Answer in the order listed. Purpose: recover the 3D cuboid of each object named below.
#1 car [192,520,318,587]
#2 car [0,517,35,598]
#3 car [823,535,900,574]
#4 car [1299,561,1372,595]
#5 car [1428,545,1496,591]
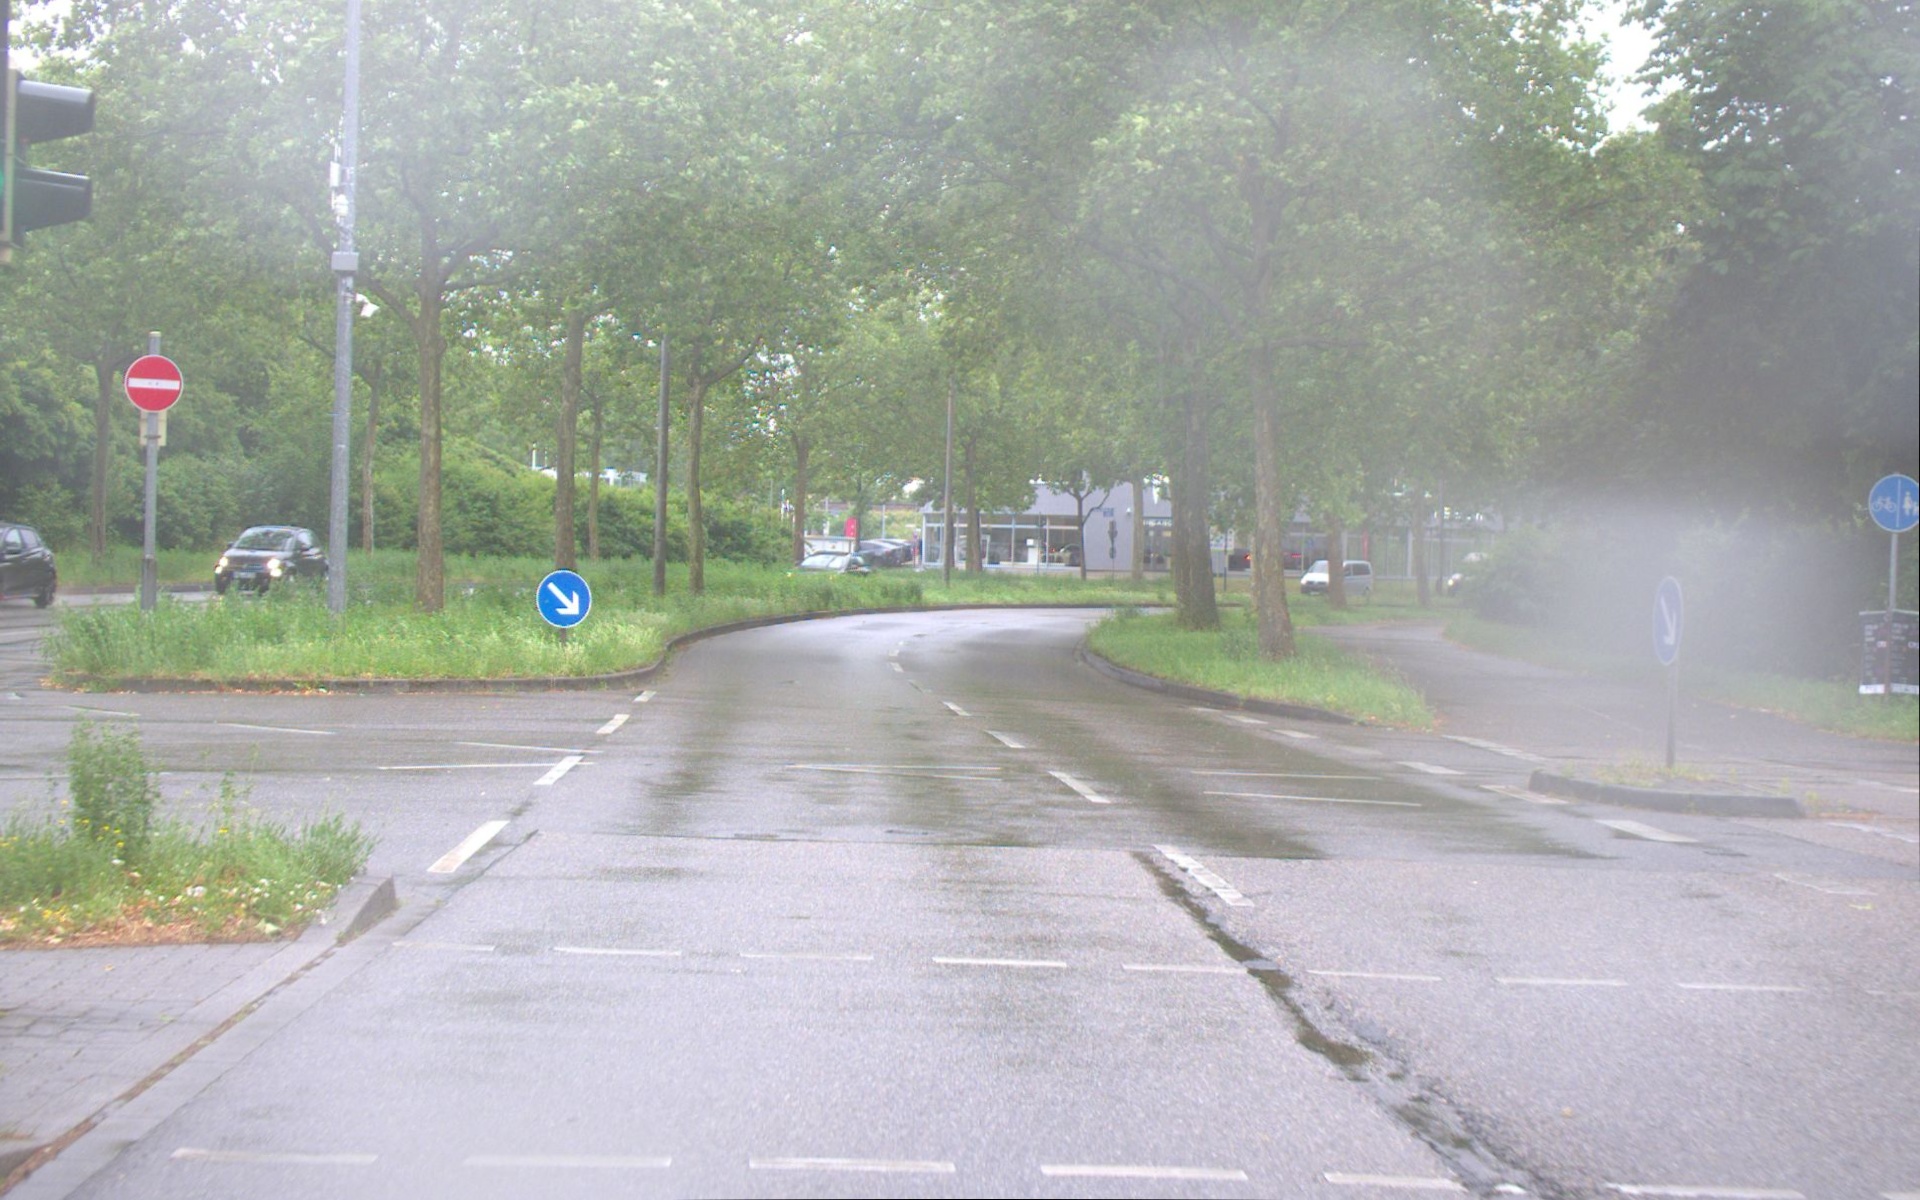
[{"bbox_3d":[-15.251,-1.013,74.554,1.587,1.368,4.262,1,1,3],"label":"car"},{"bbox_3d":[-17.041,-0.735,58.376,1.587,1.368,4.262,1,1,-1],"label":"car"},{"bbox_3d":[-5.451,-2.519,189.723,3.986,2.007,2.000,2,-1,-10],"label":"car"},{"bbox_3d":[17.701,-1.034,162.086,1.974,1.558,4.724,2,1,25],"label":"car"},{"bbox_3d":[26.003,-1.642,177.892,2.285,2.264,5.962,2,1,19],"label":"car"}]
